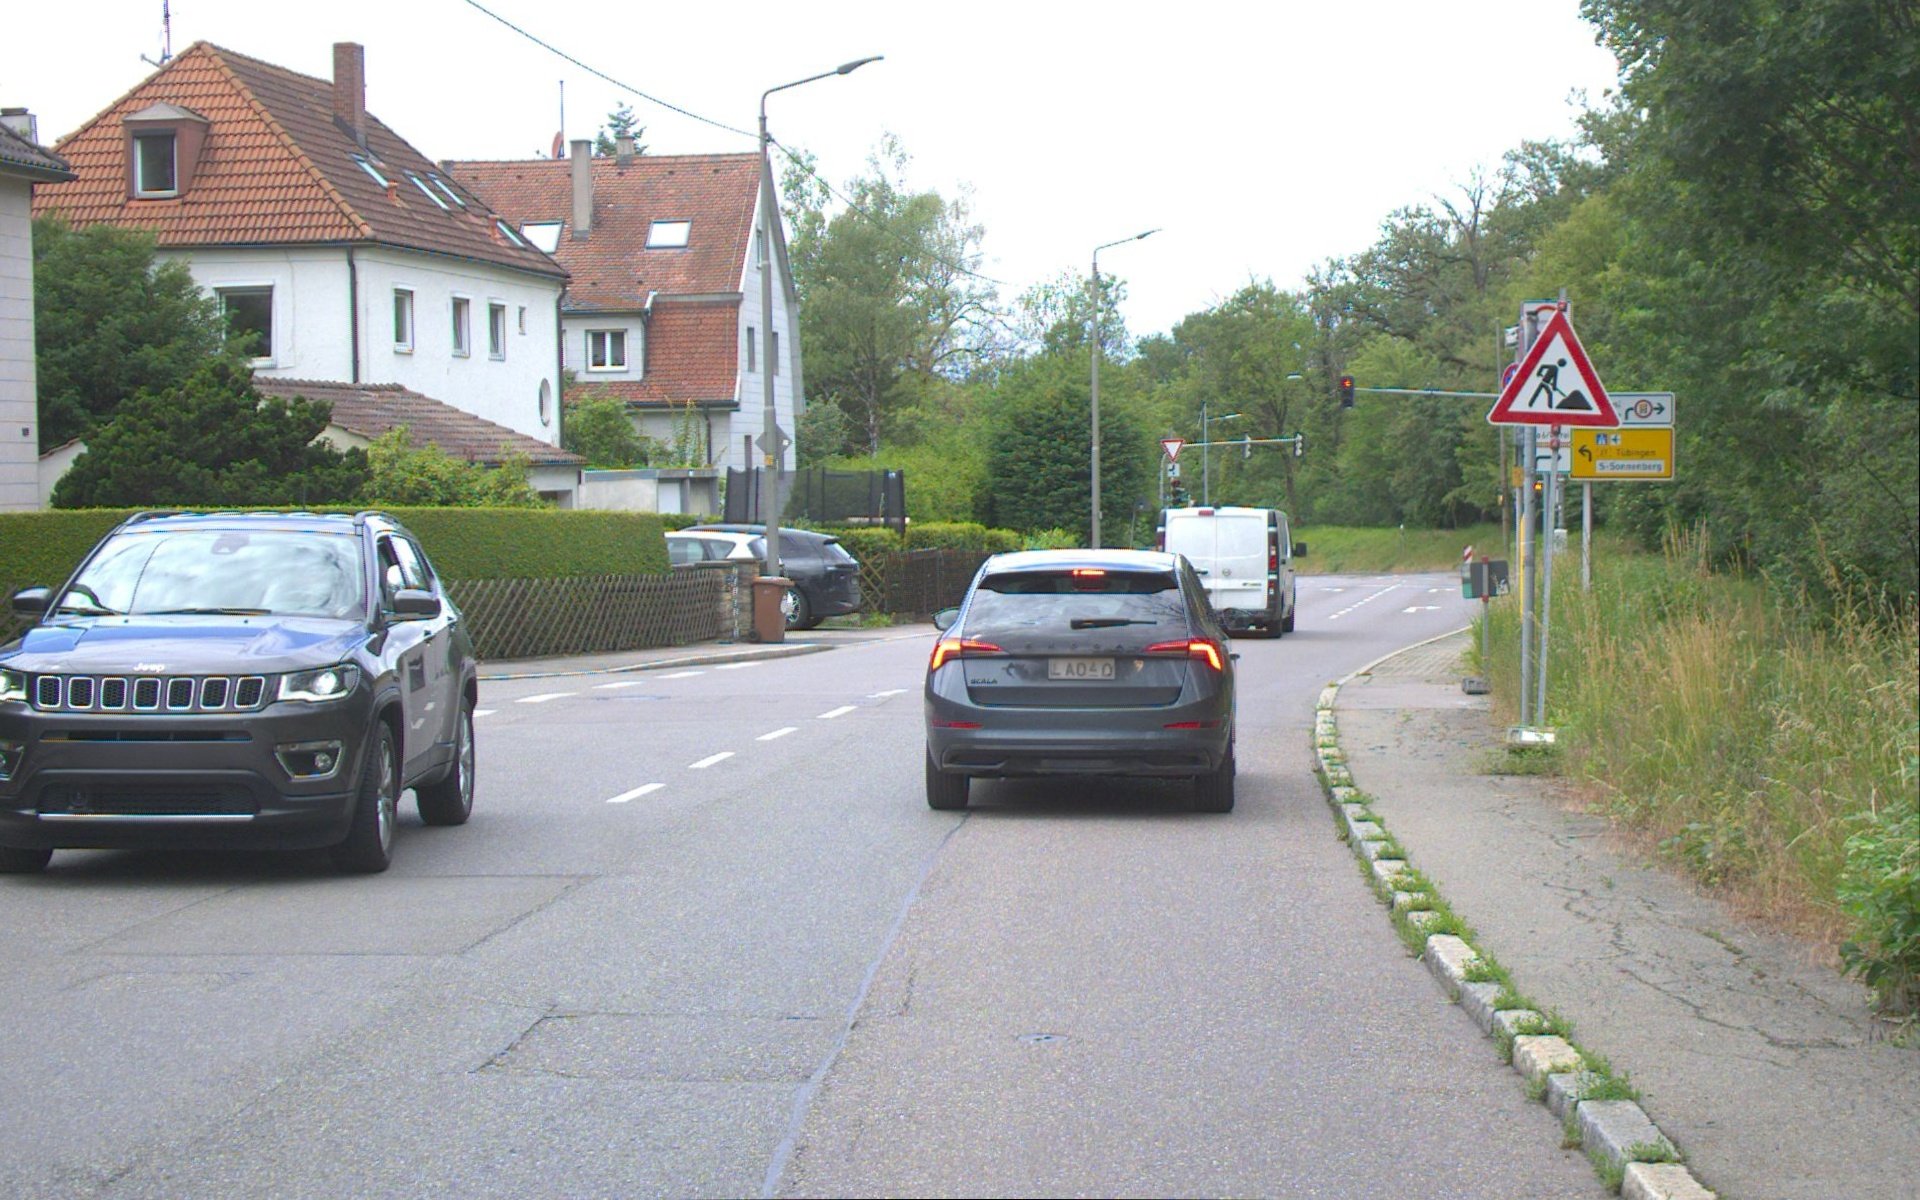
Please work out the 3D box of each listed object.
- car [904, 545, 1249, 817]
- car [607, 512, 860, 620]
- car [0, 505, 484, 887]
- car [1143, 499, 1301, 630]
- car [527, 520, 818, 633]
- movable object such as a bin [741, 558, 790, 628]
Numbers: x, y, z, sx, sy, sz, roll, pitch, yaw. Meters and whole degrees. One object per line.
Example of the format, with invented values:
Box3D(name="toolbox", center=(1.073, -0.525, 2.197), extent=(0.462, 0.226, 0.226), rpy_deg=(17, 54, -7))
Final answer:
Box3D(name="car", center=(0.586, 0.398, 20.486), extent=(1.727, 1.434, 4.324), rpy_deg=(0, 1, -2))
Box3D(name="car", center=(-3.686, -0.567, 56.493), extent=(3.987, 1.700, 1.917), rpy_deg=(-1, 1, 1))
Box3D(name="car", center=(-3.431, 0.343, 16.613), extent=(1.833, 1.591, 4.324), rpy_deg=(0, 2, -2))
Box3D(name="car", center=(4.078, -0.563, 52.826), extent=(2.072, 1.915, 4.921), rpy_deg=(0, 1, 8))
Box3D(name="car", center=(-4.271, -0.360, 51.409), extent=(3.988, 1.612, 2.000), rpy_deg=(-1, 1, 7))
Box3D(name="movable object such as a bin", center=(-2.705, -0.102, 47.827), extent=(0.599, 0.947, 0.579), rpy_deg=(-1, 1, 5))
